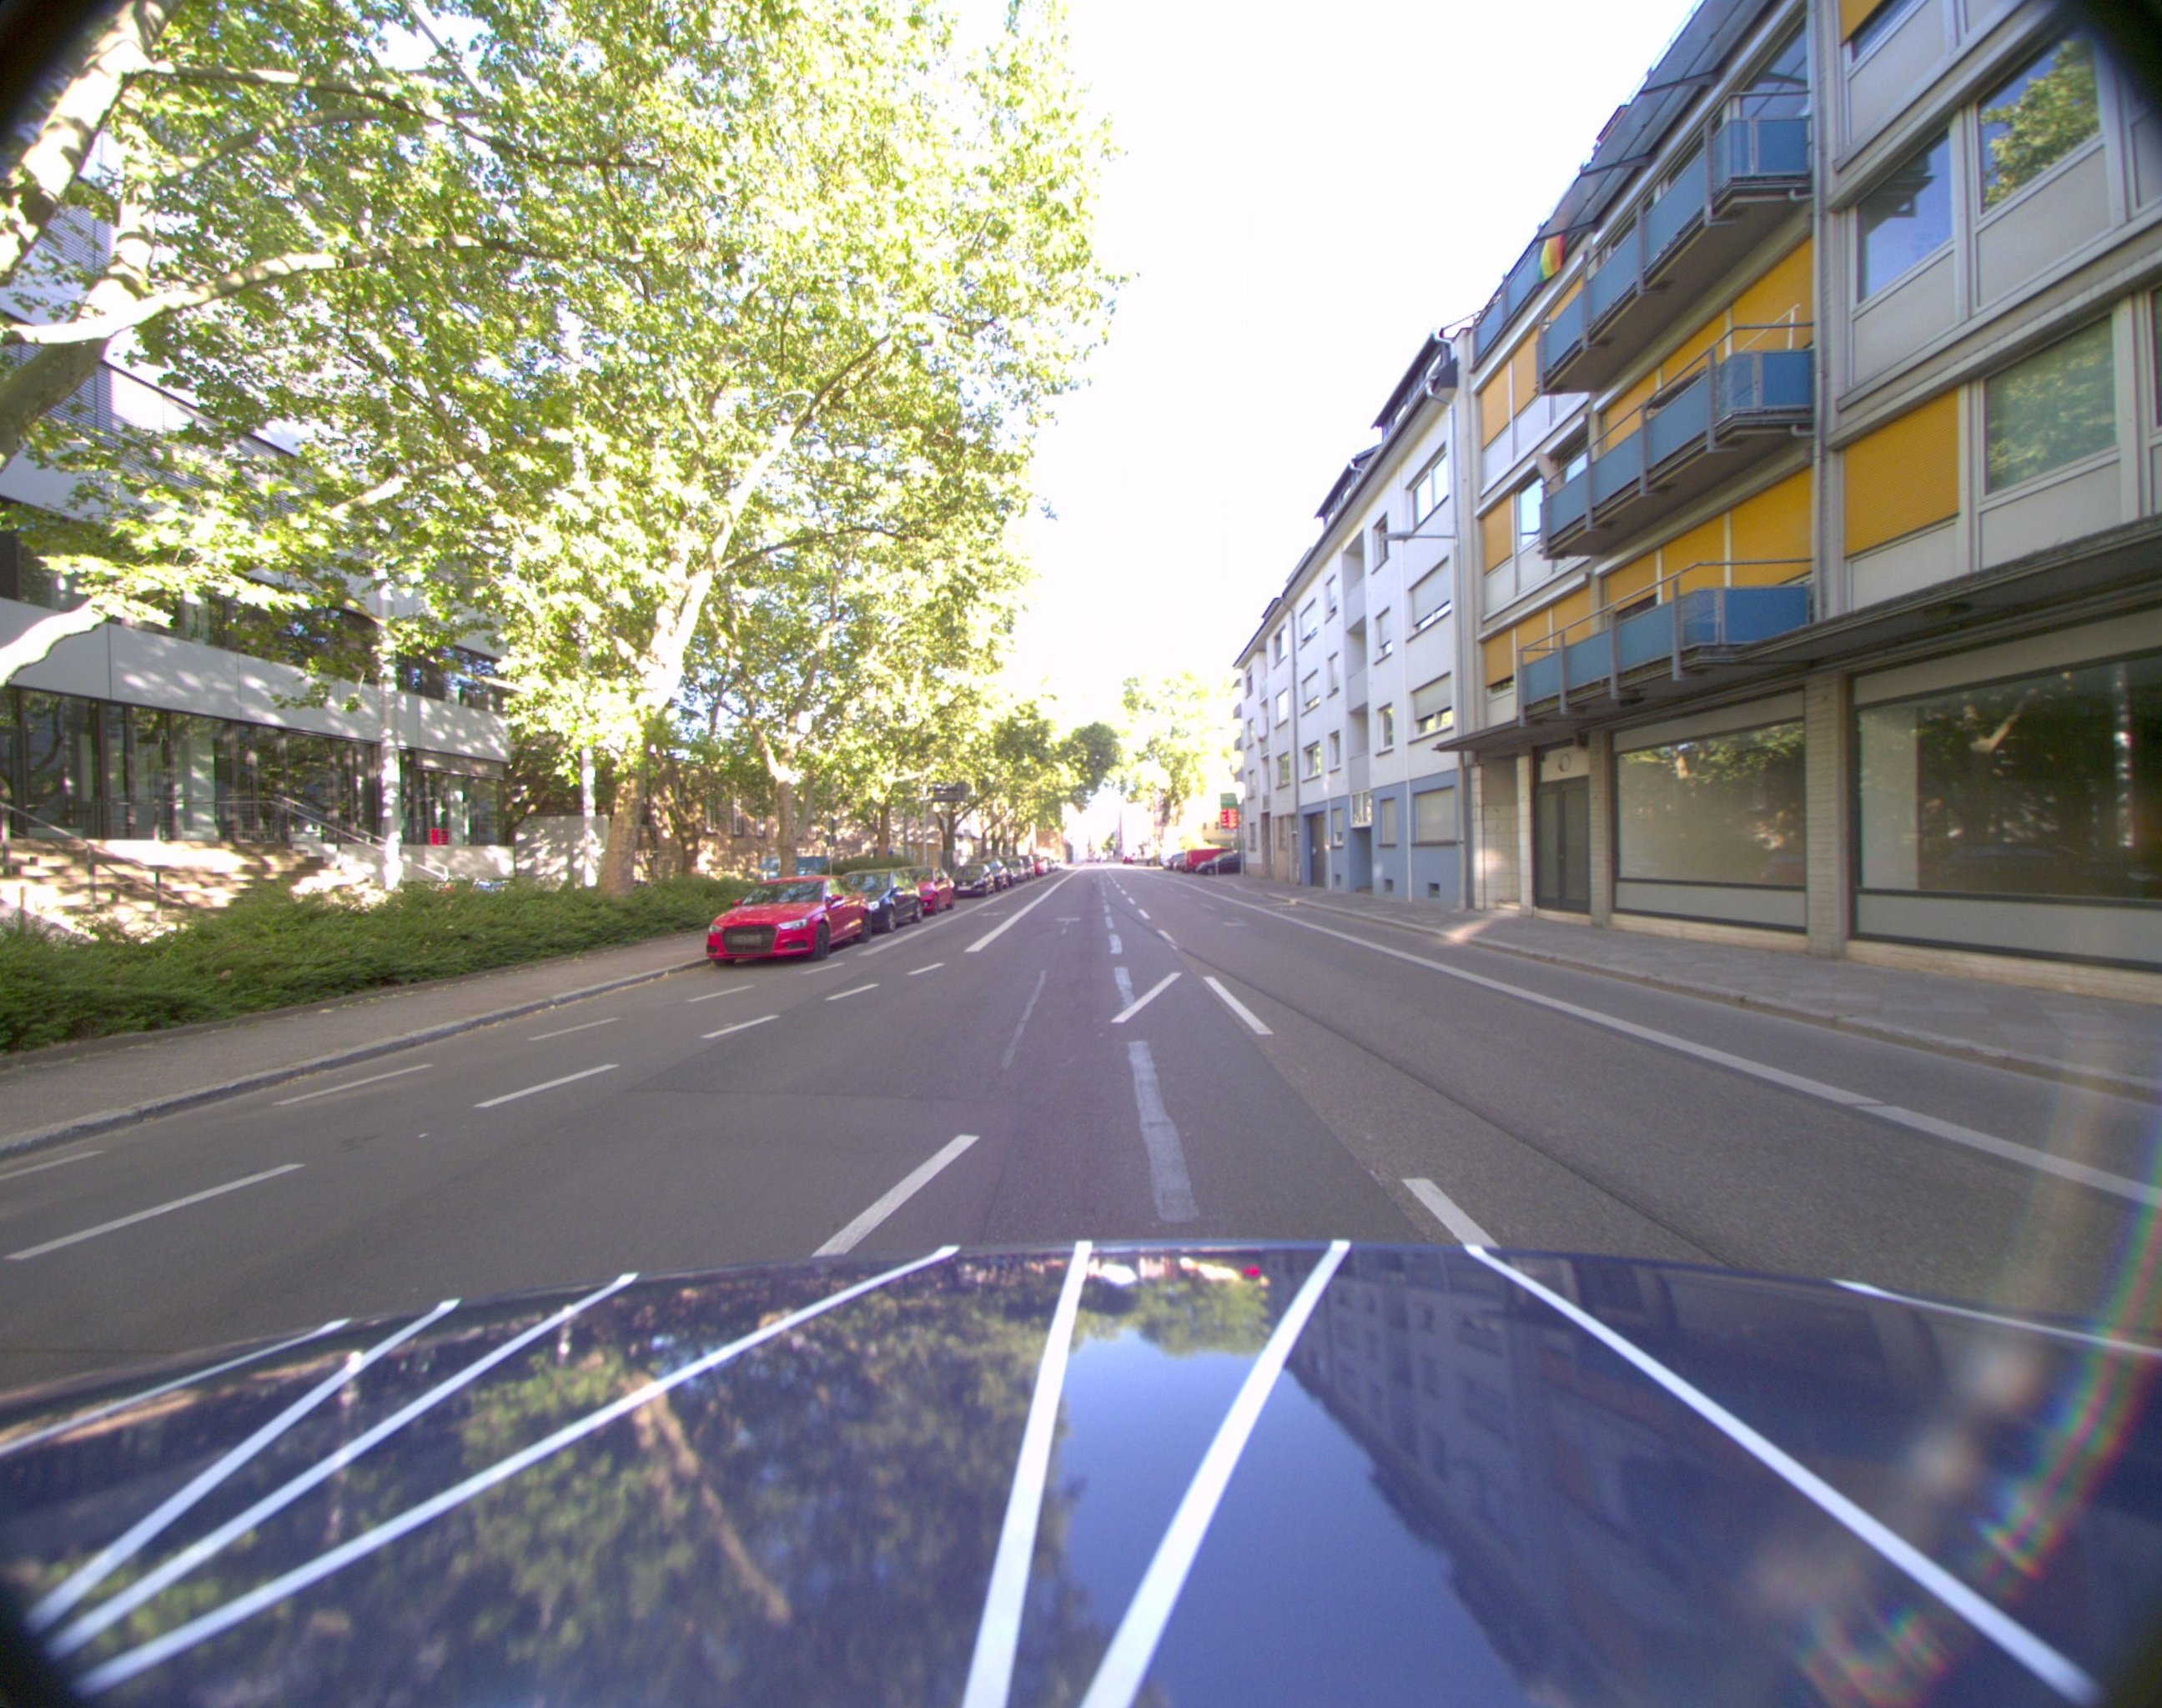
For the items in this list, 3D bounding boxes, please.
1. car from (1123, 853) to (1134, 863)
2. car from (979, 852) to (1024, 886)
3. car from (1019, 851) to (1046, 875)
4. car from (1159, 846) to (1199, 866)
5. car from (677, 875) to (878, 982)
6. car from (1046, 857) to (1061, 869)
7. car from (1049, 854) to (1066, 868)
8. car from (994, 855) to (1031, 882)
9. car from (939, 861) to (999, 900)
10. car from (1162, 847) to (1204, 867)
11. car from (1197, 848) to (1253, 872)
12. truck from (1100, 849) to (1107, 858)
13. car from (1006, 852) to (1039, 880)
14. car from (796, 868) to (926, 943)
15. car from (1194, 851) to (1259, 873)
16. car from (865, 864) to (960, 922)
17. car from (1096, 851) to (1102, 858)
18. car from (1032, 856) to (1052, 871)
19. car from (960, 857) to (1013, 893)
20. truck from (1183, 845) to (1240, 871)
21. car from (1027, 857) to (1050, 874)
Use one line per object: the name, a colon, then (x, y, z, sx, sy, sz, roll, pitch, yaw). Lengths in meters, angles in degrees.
car: (8.205, 0.697, 130.988, 1.847, 1.668, 4.000, -2, 1, 3)
car: (-4.602, 0.834, 44.517, 1.998, 1.777, 4.572, -2, 1, 1)
car: (-4.217, 0.752, 66.369, 1.998, 1.960, 3.999, -2, 1, 1)
car: (10.956, 0.209, 85.313, 4.236, 2.025, 2.000, -2, 1, 3)
car: (-5.183, 1.194, 13.638, 1.907, 1.417, 3.999, -2, 1, 1)
car: (-3.340, 1.064, 92.737, 1.693, 1.364, 3.999, -2, 1, 1)
car: (-3.178, 0.900, 103.008, 1.998, 1.682, 3.999, -2, 1, 1)
car: (-4.541, 0.936, 50.901, 1.998, 1.557, 4.142, -2, 1, 1)
car: (-4.833, 1.126, 33.179, 1.998, 1.447, 3.589, -2, 1, 1)
car: (10.869, 0.276, 80.913, 4.236, 1.945, 2.000, -2, 1, 3)
car: (10.807, 0.444, 57.114, 3.810, 1.563, 1.658, -2, 1, 0)
truck: (6.888, -0.311, 233.823, 1.998, 2.653, 5.314, -2, 1, 0)
car: (-4.240, 0.840, 55.607, 1.998, 1.838, 3.999, -2, 1, 1)
car: (-5.167, 1.165, 18.385, 1.998, 1.452, 3.644, -2, 1, 1)
car: (10.461, 0.566, 54.783, 4.324, 1.398, 1.658, -2, 1, 0)
car: (-5.124, 1.146, 23.672, 1.998, 1.490, 3.828, -2, 1, 1)
car: (6.176, 0.174, 259.454, 1.998, 2.002, 3.999, -2, 1, 1)
car: (-4.131, 0.982, 80.749, 1.824, 1.466, 3.999, -2, 1, 1)
car: (-4.679, 1.002, 38.123, 1.998, 1.592, 4.142, -2, 1, 1)
truck: (10.293, 0.313, 60.213, 4.092, 1.913, 2.000, -2, 1, 0)
car: (-4.030, 1.076, 71.997, 1.824, 1.466, 3.999, -2, 1, 1)
